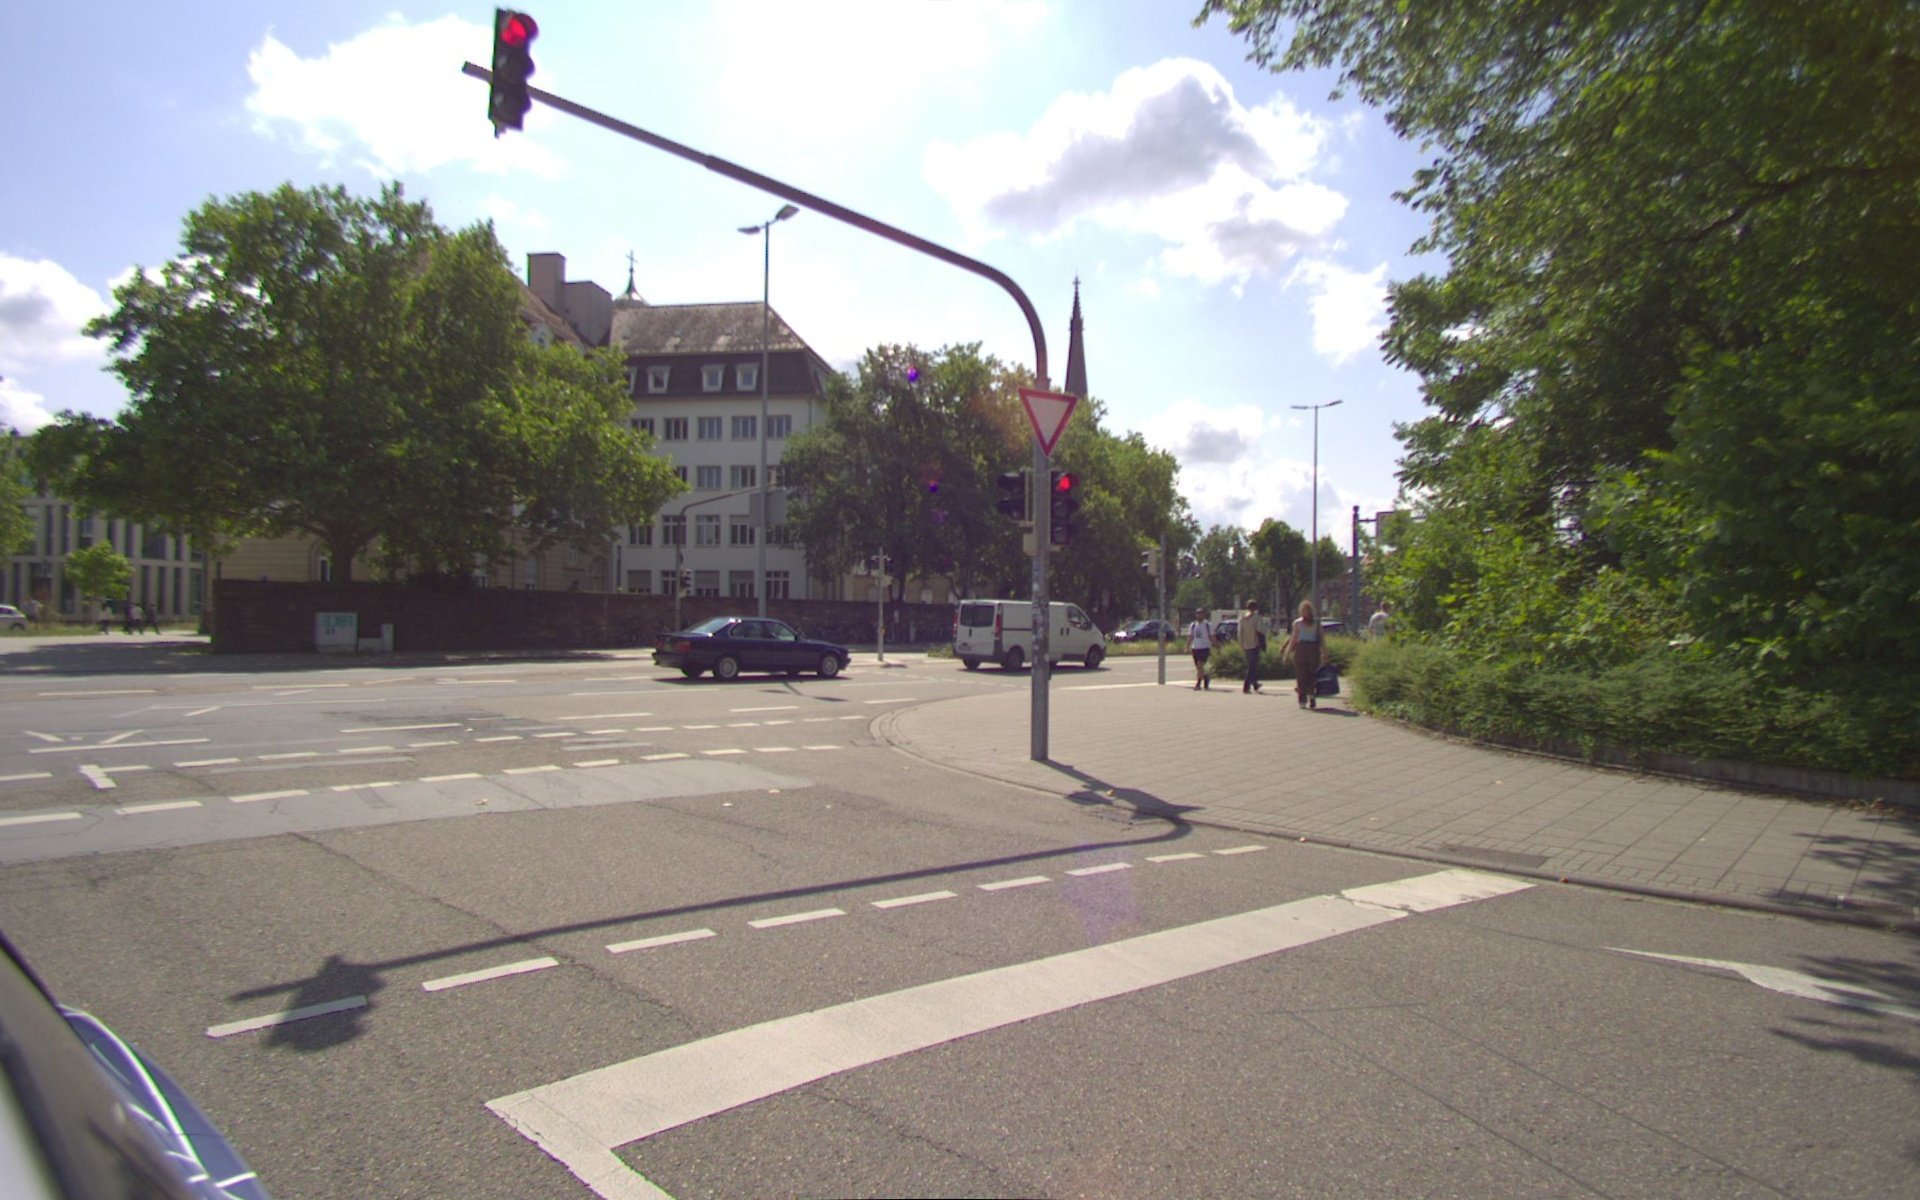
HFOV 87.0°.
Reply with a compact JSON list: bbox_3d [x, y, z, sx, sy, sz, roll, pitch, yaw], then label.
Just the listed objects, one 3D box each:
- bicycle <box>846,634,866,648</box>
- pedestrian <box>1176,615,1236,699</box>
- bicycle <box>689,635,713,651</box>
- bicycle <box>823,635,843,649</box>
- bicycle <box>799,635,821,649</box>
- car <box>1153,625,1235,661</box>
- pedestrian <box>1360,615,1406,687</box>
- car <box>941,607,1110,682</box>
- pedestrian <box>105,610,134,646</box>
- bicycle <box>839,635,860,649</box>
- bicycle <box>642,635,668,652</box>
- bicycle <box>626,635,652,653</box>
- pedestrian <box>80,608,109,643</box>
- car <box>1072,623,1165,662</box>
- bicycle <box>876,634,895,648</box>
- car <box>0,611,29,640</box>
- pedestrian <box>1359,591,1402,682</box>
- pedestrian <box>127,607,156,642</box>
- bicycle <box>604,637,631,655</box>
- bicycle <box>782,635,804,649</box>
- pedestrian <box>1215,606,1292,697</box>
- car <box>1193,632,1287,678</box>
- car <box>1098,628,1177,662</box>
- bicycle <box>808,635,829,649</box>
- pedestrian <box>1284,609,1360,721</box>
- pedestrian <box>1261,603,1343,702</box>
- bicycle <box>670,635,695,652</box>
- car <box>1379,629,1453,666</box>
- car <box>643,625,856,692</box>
[{"bbox_3d":[-5.557,2.199,54.299,0.994,0.687,0.408,2,-1,4],"label":"bicycle"},{"bbox_3d":[5.165,1.191,21.255,0.854,1.714,0.917,-3,-4,45],"label":"pedestrian"},{"bbox_3d":[-11.725,1.953,45.816,0.999,0.687,0.406,2,-1,17],"label":"bicycle"},{"bbox_3d":[-6.584,2.170,52.515,0.994,0.687,0.408,2,-1,4],"label":"bicycle"},{"bbox_3d":[-7.589,2.128,51.261,0.994,0.687,0.408,2,-1,4],"label":"bicycle"},{"bbox_3d":[10.345,1.866,44.645,3.747,1.483,1.756,2,-1,-43],"label":"car"},{"bbox_3d":[11.287,1.345,27.031,0.841,1.882,1.005,-1,-2,43],"label":"pedestrian"},{"bbox_3d":[1.993,1.250,29.475,5.117,1.970,2.014,2,-1,-45],"label":"car"},{"bbox_3d":[-43.268,1.433,52.118,0.877,1.803,0.846,0,-1,-15],"label":"pedestrian"},{"bbox_3d":[-5.847,2.202,53.565,0.994,0.687,0.408,2,-1,4],"label":"bicycle"},{"bbox_3d":[-13.165,1.890,43.706,0.999,0.687,0.406,2,-1,17],"label":"bicycle"},{"bbox_3d":[-13.622,1.870,42.956,0.999,0.687,0.406,2,-1,17],"label":"bicycle"},{"bbox_3d":[-44.267,1.301,51.775,0.800,1.803,0.846,1,-1,-17],"label":"pedestrian"},{"bbox_3d":[6.467,1.716,41.089,3.747,1.483,1.756,2,-1,-43],"label":"car"},{"bbox_3d":[-4.149,2.282,56.387,0.994,0.687,0.408,2,-1,4],"label":"bicycle"},{"bbox_3d":[-46.742,1.217,47.309,1.978,1.316,4.480,2,0,10],"label":"car"},{"bbox_3d":[8.622,0.733,20.746,0.671,1.834,0.695,0,-1,36],"label":"pedestrian"},{"bbox_3d":[-42.208,1.268,52.199,0.851,1.803,0.846,1,-2,-15],"label":"pedestrian"},{"bbox_3d":[-14.222,1.917,41.966,0.999,0.687,0.406,2,-1,17],"label":"bicycle"},{"bbox_3d":[-8.352,2.098,50.530,0.994,0.687,0.408,2,-1,4],"label":"bicycle"},{"bbox_3d":[5.672,0.981,19.580,1.162,1.717,0.800,0,-2,-27],"label":"pedestrian"},{"bbox_3d":[9.899,1.911,35.682,3.464,1.496,1.618,2,-1,-43],"label":"car"},{"bbox_3d":[8.401,2.099,47.755,3.747,1.483,1.756,2,-1,-43],"label":"car"},{"bbox_3d":[-7.233,2.144,51.763,0.994,0.687,0.408,2,-1,4],"label":"bicycle"},{"bbox_3d":[5.590,0.976,15.608,0.855,1.639,1.009,-2,-1,33],"label":"pedestrian"},{"bbox_3d":[6.174,0.932,18.283,1.162,1.717,0.800,0,-2,-27],"label":"pedestrian"},{"bbox_3d":[-12.262,1.928,44.744,0.999,0.687,0.406,2,-1,17],"label":"bicycle"},{"bbox_3d":[21.905,2.240,48.555,1.834,1.613,4.329,1,0,44],"label":"car"},{"bbox_3d":[-4.750,1.313,23.271,4.542,1.397,1.699,3,-3,-42],"label":"car"}]
